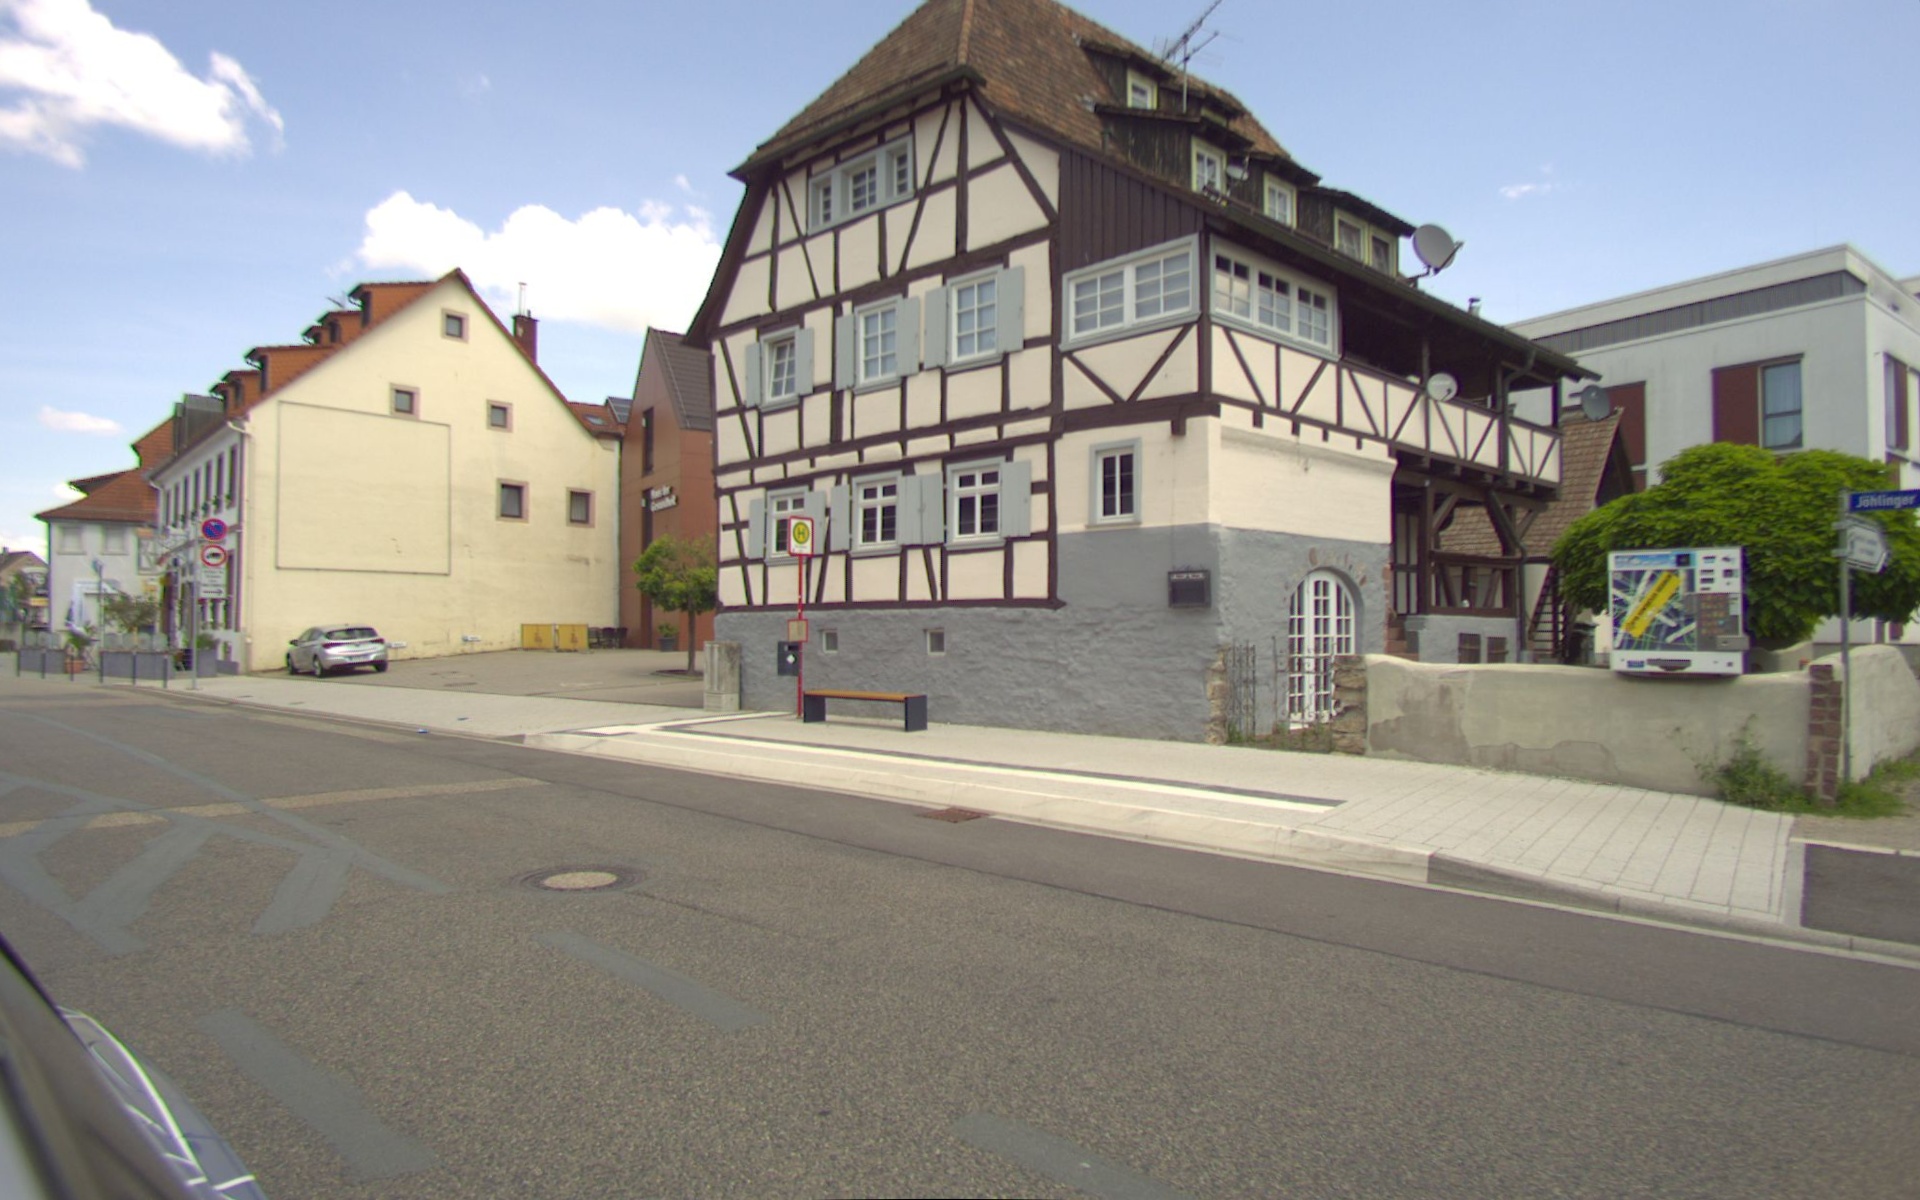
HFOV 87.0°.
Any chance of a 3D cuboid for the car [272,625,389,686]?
[{"bbox_3d":[-18.552,1.564,29.740,4.274,1.503,1.740,-1,3,42],"label":"car"}]
